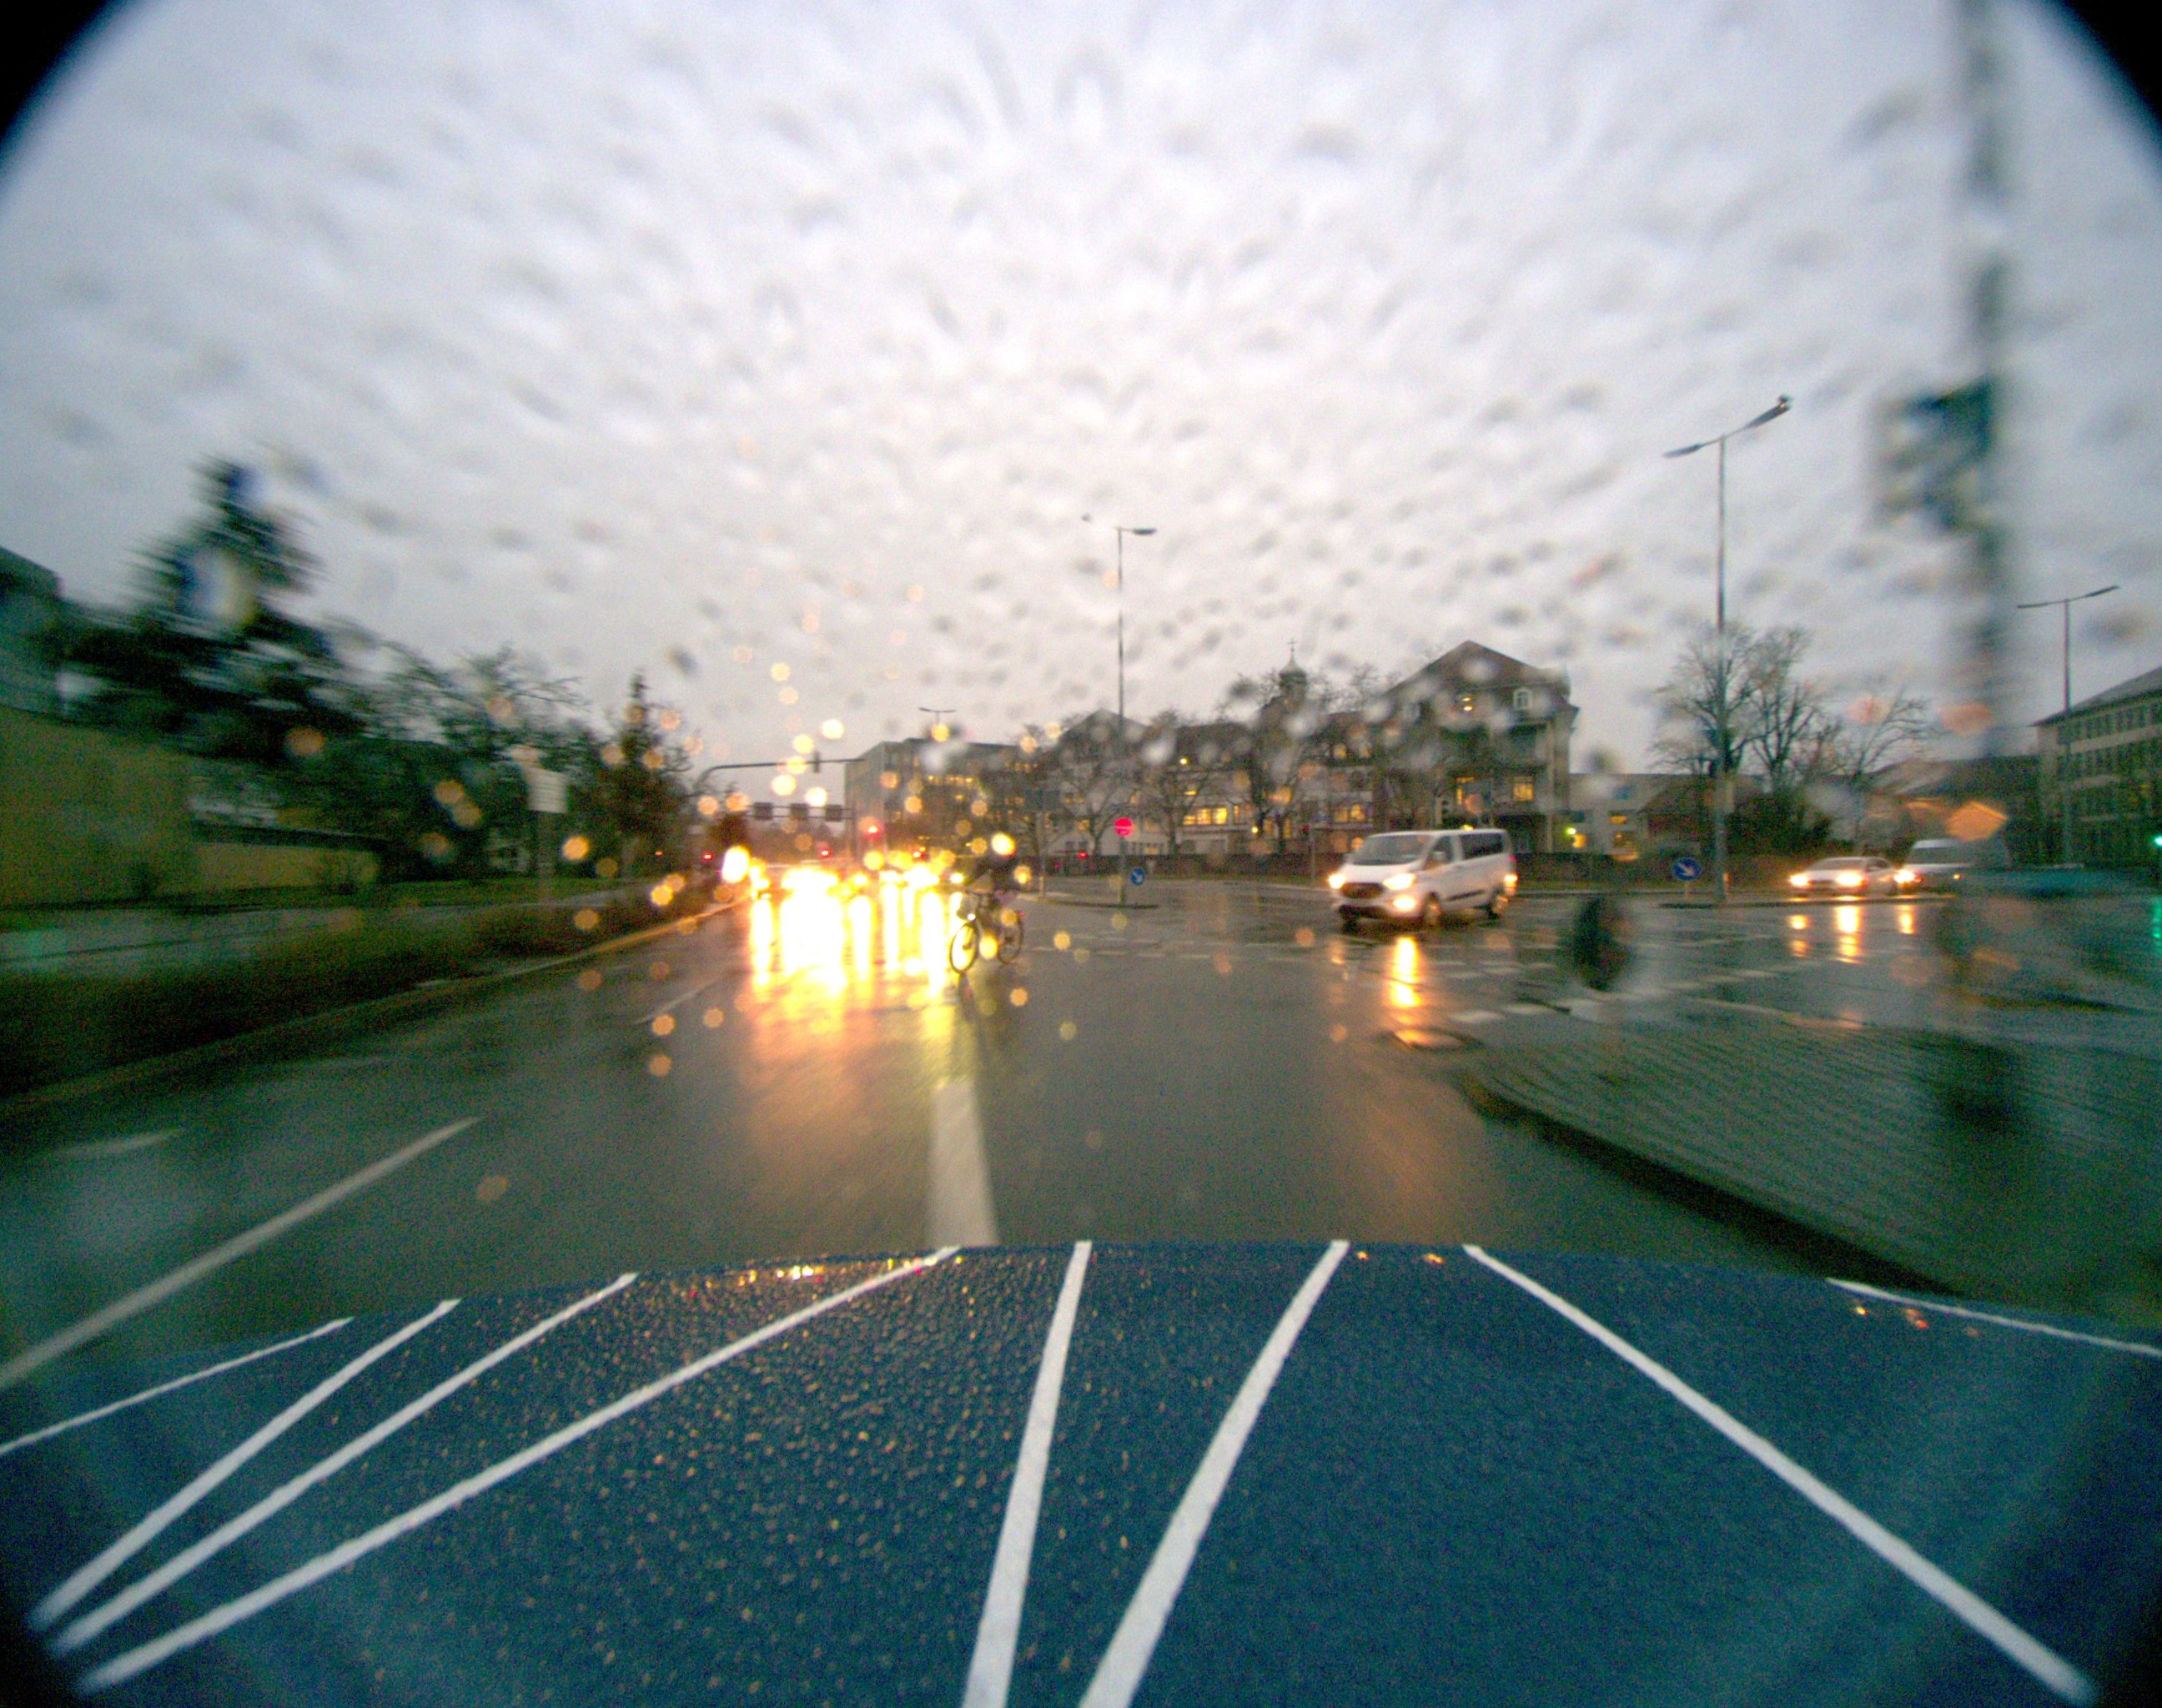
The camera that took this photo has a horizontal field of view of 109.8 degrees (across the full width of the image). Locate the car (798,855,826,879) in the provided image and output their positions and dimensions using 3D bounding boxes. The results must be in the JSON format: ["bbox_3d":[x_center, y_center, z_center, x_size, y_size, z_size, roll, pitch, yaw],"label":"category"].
[{"bbox_3d":[-22.182,1.014,62.575,2.002,1.912,4.259,0,0,-23],"label":"car"}]

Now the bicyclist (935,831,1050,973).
[{"bbox_3d":[-1.244,0.639,10.839,1.024,1.872,1.238,-1,0,33],"label":"bicyclist"}]

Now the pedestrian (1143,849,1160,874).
[{"bbox_3d":[5.040,0.535,54.432,0.810,1.820,0.945,0,0,-26],"label":"pedestrian"}]

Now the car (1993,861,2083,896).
[{"bbox_3d":[47.005,1.146,37.304,4.824,1.634,1.835,0,0,-27],"label":"car"}]

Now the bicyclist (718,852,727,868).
[{"bbox_3d":[-35.118,0.573,74.380,0.768,1.481,0.992,0,1,-22],"label":"bicyclist"}]

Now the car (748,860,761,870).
[{"bbox_3d":[-60.607,2.073,141.071,2.145,1.805,3.992,1,0,-23],"label":"car"}]

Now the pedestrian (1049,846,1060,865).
[{"bbox_3d":[-2.642,0.130,75.784,0.810,1.820,0.945,0,0,-26],"label":"pedestrian"}]

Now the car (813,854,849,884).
[{"bbox_3d":[-16.339,0.943,49.589,2.002,1.892,3.993,0,0,-22],"label":"car"}]

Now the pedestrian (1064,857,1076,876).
[{"bbox_3d":[-1.051,1.193,74.013,0.810,1.820,0.945,0,0,-26],"label":"pedestrian"}]

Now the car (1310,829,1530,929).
[{"bbox_3d":[7.551,0.554,16.756,5.027,1.909,2.133,1,-3,-35],"label":"car"}]

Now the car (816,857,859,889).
[{"bbox_3d":[-14.332,1.063,44.495,2.002,1.739,4.462,1,0,-23],"label":"car"}]

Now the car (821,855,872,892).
[{"bbox_3d":[-12.230,0.961,39.425,2.002,1.739,4.936,1,0,-23],"label":"car"}]

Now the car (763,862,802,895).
[{"bbox_3d":[-17.449,1.368,44.479,2.002,1.827,3.993,0,0,-21],"label":"car"}]

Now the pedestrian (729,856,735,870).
[{"bbox_3d":[-44.067,1.145,95.893,0.624,1.790,0.936,0,0,-21],"label":"pedestrian"}]

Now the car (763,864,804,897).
[{"bbox_3d":[-14.838,1.288,37.776,1.777,1.478,4.462,1,0,-23],"label":"car"}]

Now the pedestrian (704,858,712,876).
[{"bbox_3d":[-42.101,1.480,85.769,0.767,2.002,0.771,0,1,-24],"label":"pedestrian"}]

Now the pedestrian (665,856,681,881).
[{"bbox_3d":[-30.213,1.100,56.275,0.934,1.815,0.832,1,0,-23],"label":"pedestrian"}]

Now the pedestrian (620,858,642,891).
[{"bbox_3d":[-25.044,1.122,42.343,0.934,1.815,0.832,1,0,-23],"label":"pedestrian"}]

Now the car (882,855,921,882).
[{"bbox_3d":[-12.703,1.006,53.607,2.002,1.739,4.461,-1,1,-23],"label":"car"}]

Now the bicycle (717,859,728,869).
[{"bbox_3d":[-35.102,0.976,74.353,0.795,1.009,2.897,0,0,-22],"label":"bicycle"}]

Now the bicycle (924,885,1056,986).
[{"bbox_3d":[-1.245,1.090,10.804,0.793,1.215,1.908,-1,0,33],"label":"bicycle"}]

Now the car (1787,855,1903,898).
[{"bbox_3d":[28.359,0.829,28.204,4.324,1.494,1.752,0,-2,-27],"label":"car"}]

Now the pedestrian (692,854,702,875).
[{"bbox_3d":[-35.582,0.964,70.336,0.767,2.002,0.908,0,1,-24],"label":"pedestrian"}]

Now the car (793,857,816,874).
[{"bbox_3d":[-28.435,1.114,78.139,2.002,1.689,4.518,0,0,-23],"label":"car"}]

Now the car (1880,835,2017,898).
[{"bbox_3d":[37.045,0.563,32.438,5.876,2.502,2.344,0,-2,-26],"label":"car"}]

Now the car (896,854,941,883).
[{"bbox_3d":[-10.334,0.887,48.116,2.003,1.739,4.462,1,0,-23],"label":"car"}]

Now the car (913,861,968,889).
[{"bbox_3d":[-7.532,1.082,40.421,1.934,1.368,4.489,1,0,-23],"label":"car"}]

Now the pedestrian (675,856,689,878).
[{"bbox_3d":[-33.617,1.094,64.066,0.934,1.815,0.832,1,0,-23],"label":"pedestrian"}]

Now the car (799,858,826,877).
[{"bbox_3d":[-24.307,1.171,68.737,2.003,1.558,4.752,2,0,-23],"label":"car"}]
